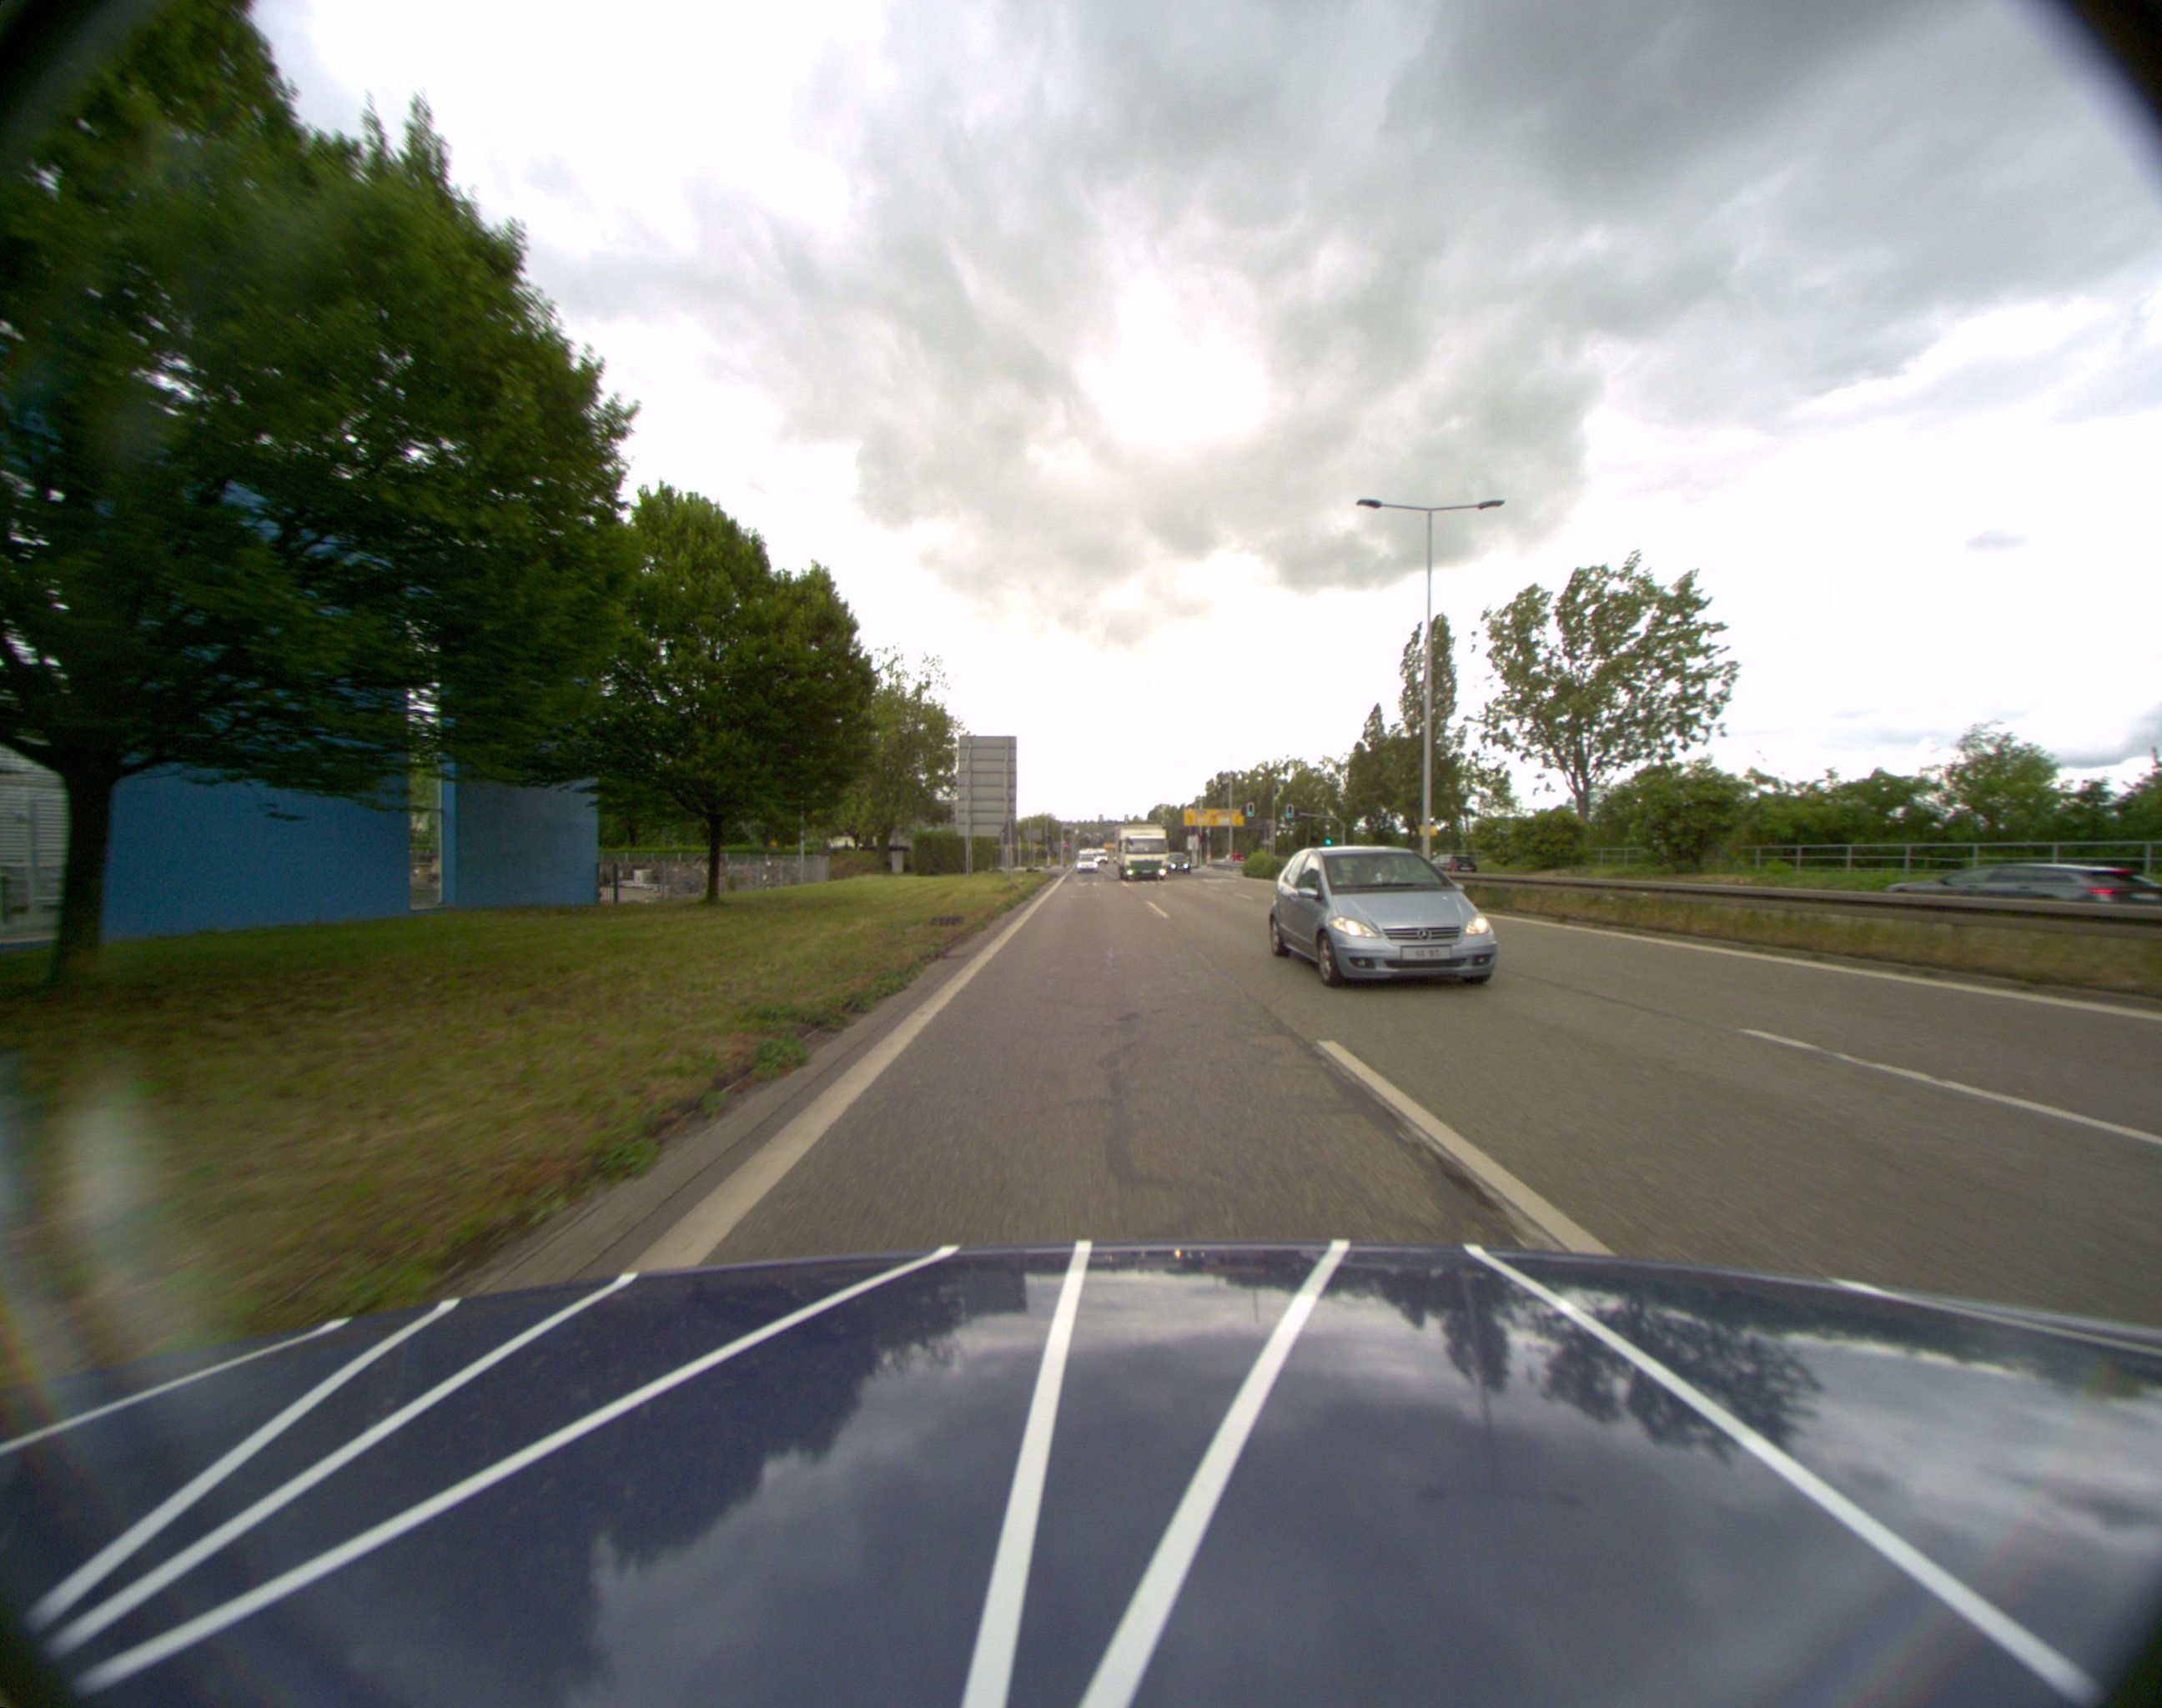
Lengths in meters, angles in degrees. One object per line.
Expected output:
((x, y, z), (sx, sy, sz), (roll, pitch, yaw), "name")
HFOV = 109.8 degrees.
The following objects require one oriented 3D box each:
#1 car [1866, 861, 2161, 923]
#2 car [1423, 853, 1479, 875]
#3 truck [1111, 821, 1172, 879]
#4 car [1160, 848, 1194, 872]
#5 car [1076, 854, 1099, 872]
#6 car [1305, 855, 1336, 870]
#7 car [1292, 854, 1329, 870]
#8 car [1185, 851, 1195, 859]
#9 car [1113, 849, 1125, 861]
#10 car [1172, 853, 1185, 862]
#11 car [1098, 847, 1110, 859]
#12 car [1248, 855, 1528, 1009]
((22.458, 0.832, 18.539), (1.664, 1.291, 4.788), (0, 0, 0), "car")
((23.088, 0.628, 47.589), (1.582, 1.291, 4.061), (0, 0, 1), "car")
((3.504, -0.167, 47.168), (2.657, 3.120, 12.508), (0, 0, 0), "truck")
((7.003, 0.429, 55.680), (1.883, 1.714, 4.146), (0, 0, 0), "car")
((0.562, 0.783, 66.888), (1.949, 1.516, 4.000), (0, 0, 0), "car")
((22.966, 0.804, 73.046), (1.781, 1.410, 4.067), (0, 0, 1), "car")
((16.827, 0.576, 55.966), (1.549, 1.099, 4.067), (0, 0, 1), "car")
((20.213, 0.162, 141.069), (1.508, 1.467, 2.633), (2, 0, 1), "car")
((7.059, 0.190, 141.196), (1.949, 2.176, 4.000), (0, 0, 0), "car")
((16.984, 0.665, 132.555), (1.702, 1.516, 5.002), (2, 0, 0), "car")
((4.130, -0.168, 135.393), (1.949, 2.176, 4.000), (0, 0, 0), "car")
((3.541, 0.798, 9.705), (1.883, 1.530, 4.146), (0, 0, 0), "car")
